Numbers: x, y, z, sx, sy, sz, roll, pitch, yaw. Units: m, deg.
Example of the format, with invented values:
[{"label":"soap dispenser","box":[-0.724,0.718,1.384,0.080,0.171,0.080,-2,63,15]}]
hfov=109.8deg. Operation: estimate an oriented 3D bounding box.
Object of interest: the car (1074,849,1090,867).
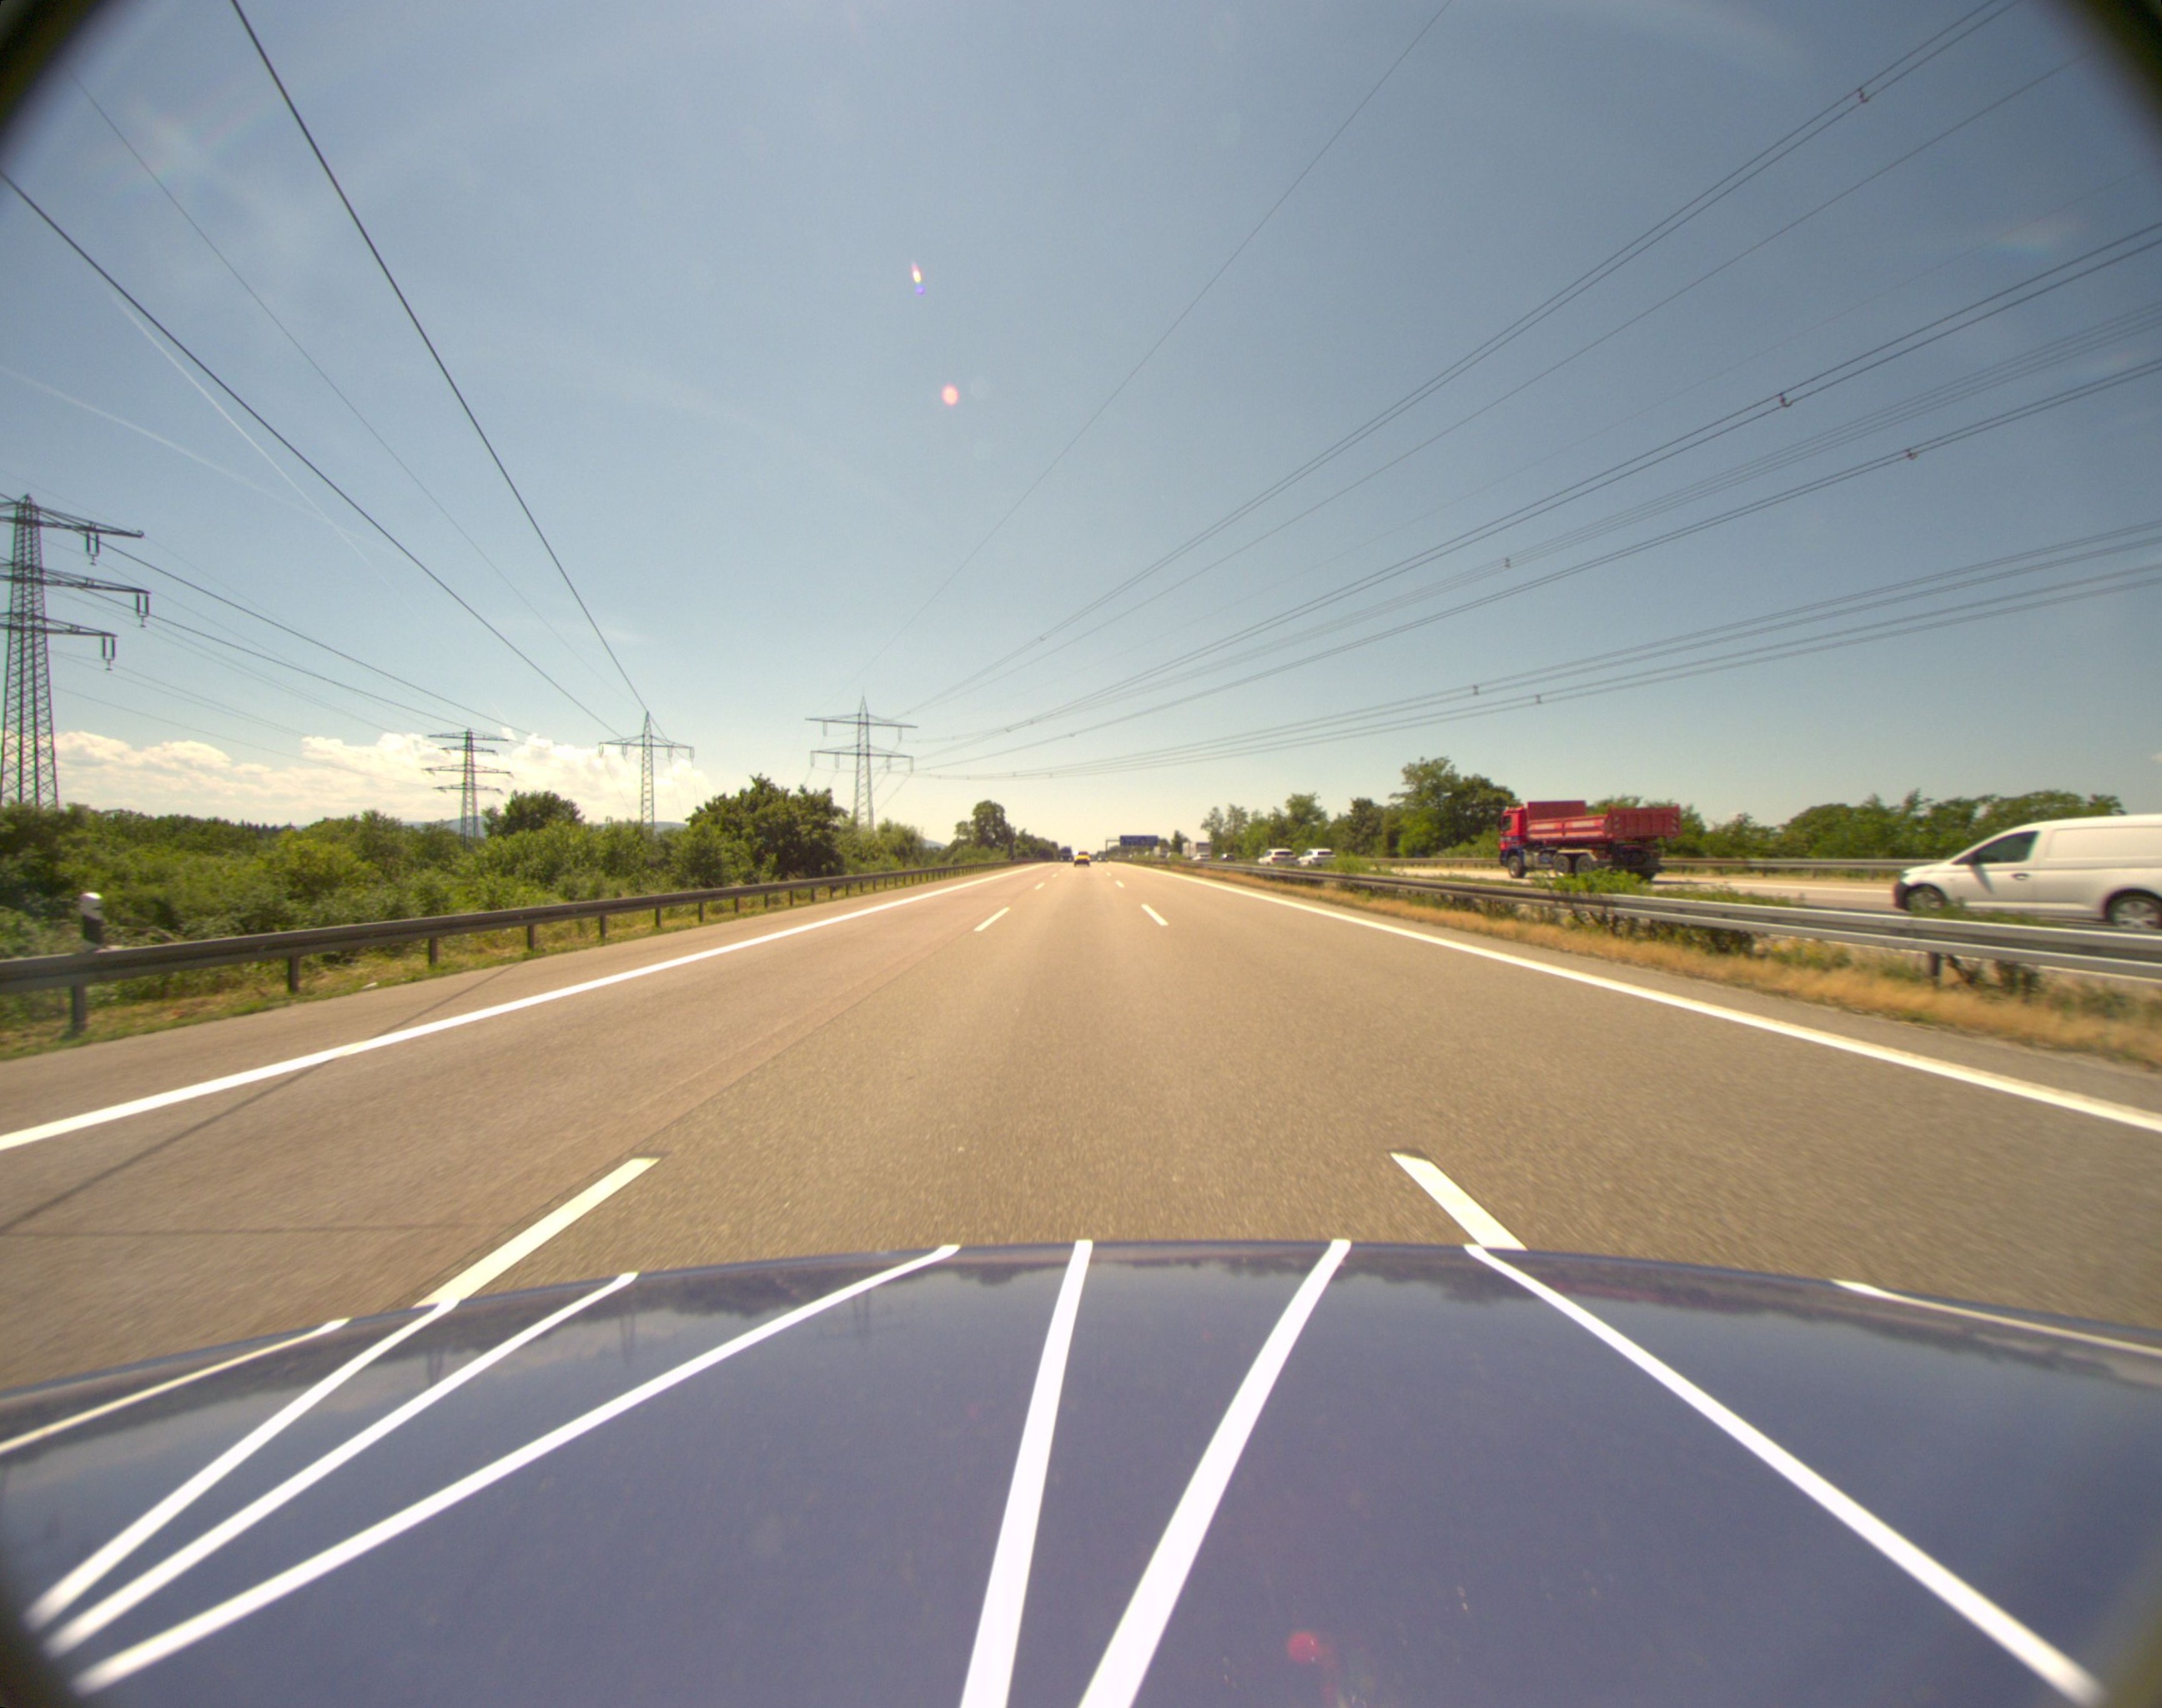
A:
[{"label":"car","box":[0.130,0.496,92.591,1.955,2.002,5.433,-1,0,0]}]

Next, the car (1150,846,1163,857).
[{"label":"car","box":[18.099,-0.536,182.780,2.489,2.564,7.121,-2,0,0]}]

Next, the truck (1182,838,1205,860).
[{"label":"truck","box":[21.232,-0.920,144.019,2.699,3.926,10.593,-2,0,0]}]

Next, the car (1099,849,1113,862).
[{"label":"car","box":[4.865,0.330,149.205,2.686,2.509,5.967,-1,0,0]}]

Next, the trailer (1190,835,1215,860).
[{"label":"trailer","box":[21.437,-1.040,134.553,2.848,4.140,8.327,-2,0,0]}]

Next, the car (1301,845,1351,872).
[{"label":"car","box":[16.705,0.298,52.009,1.998,1.750,4.534,-2,0,1]}]

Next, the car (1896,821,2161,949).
[{"label":"car","box":[16.023,0.395,11.843,1.976,1.763,4.368,-2,0,1]}]

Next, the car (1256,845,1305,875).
[{"label":"car","box":[13.143,0.381,50.295,1.998,1.842,4.534,-2,0,1]}]

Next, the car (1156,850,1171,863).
[{"label":"car","box":[13.287,0.380,122.824,1.998,2.002,4.626,-2,0,1]}]

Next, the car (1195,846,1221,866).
[{"label":"car","box":[13.761,0.183,82.488,1.998,2.002,4.921,-2,0,1]}]

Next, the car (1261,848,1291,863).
[{"label":"car","box":[21.722,0.177,84.752,1.999,1.652,5.087,0,0,-1]}]

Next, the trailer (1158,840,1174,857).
[{"label":"trailer","box":[22.166,-1.318,199.604,2.429,4.264,14.432,-2,0,0]}]

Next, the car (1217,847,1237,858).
[{"label":"car","box":[21.228,-0.193,110.840,1.998,1.576,5.067,-2,0,1]}]

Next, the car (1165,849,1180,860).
[{"label":"car","box":[16.484,0.114,137.236,1.998,2.002,5.701,-2,0,1]}]

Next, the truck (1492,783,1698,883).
[{"label":"truck","box":[20.842,-0.744,31.652,2.777,3.506,8.533,-2,0,1]}]

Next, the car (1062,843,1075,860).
[{"label":"car","box":[-2.895,-0.556,176.402,2.686,3.723,6.270,-1,0,0]}]
